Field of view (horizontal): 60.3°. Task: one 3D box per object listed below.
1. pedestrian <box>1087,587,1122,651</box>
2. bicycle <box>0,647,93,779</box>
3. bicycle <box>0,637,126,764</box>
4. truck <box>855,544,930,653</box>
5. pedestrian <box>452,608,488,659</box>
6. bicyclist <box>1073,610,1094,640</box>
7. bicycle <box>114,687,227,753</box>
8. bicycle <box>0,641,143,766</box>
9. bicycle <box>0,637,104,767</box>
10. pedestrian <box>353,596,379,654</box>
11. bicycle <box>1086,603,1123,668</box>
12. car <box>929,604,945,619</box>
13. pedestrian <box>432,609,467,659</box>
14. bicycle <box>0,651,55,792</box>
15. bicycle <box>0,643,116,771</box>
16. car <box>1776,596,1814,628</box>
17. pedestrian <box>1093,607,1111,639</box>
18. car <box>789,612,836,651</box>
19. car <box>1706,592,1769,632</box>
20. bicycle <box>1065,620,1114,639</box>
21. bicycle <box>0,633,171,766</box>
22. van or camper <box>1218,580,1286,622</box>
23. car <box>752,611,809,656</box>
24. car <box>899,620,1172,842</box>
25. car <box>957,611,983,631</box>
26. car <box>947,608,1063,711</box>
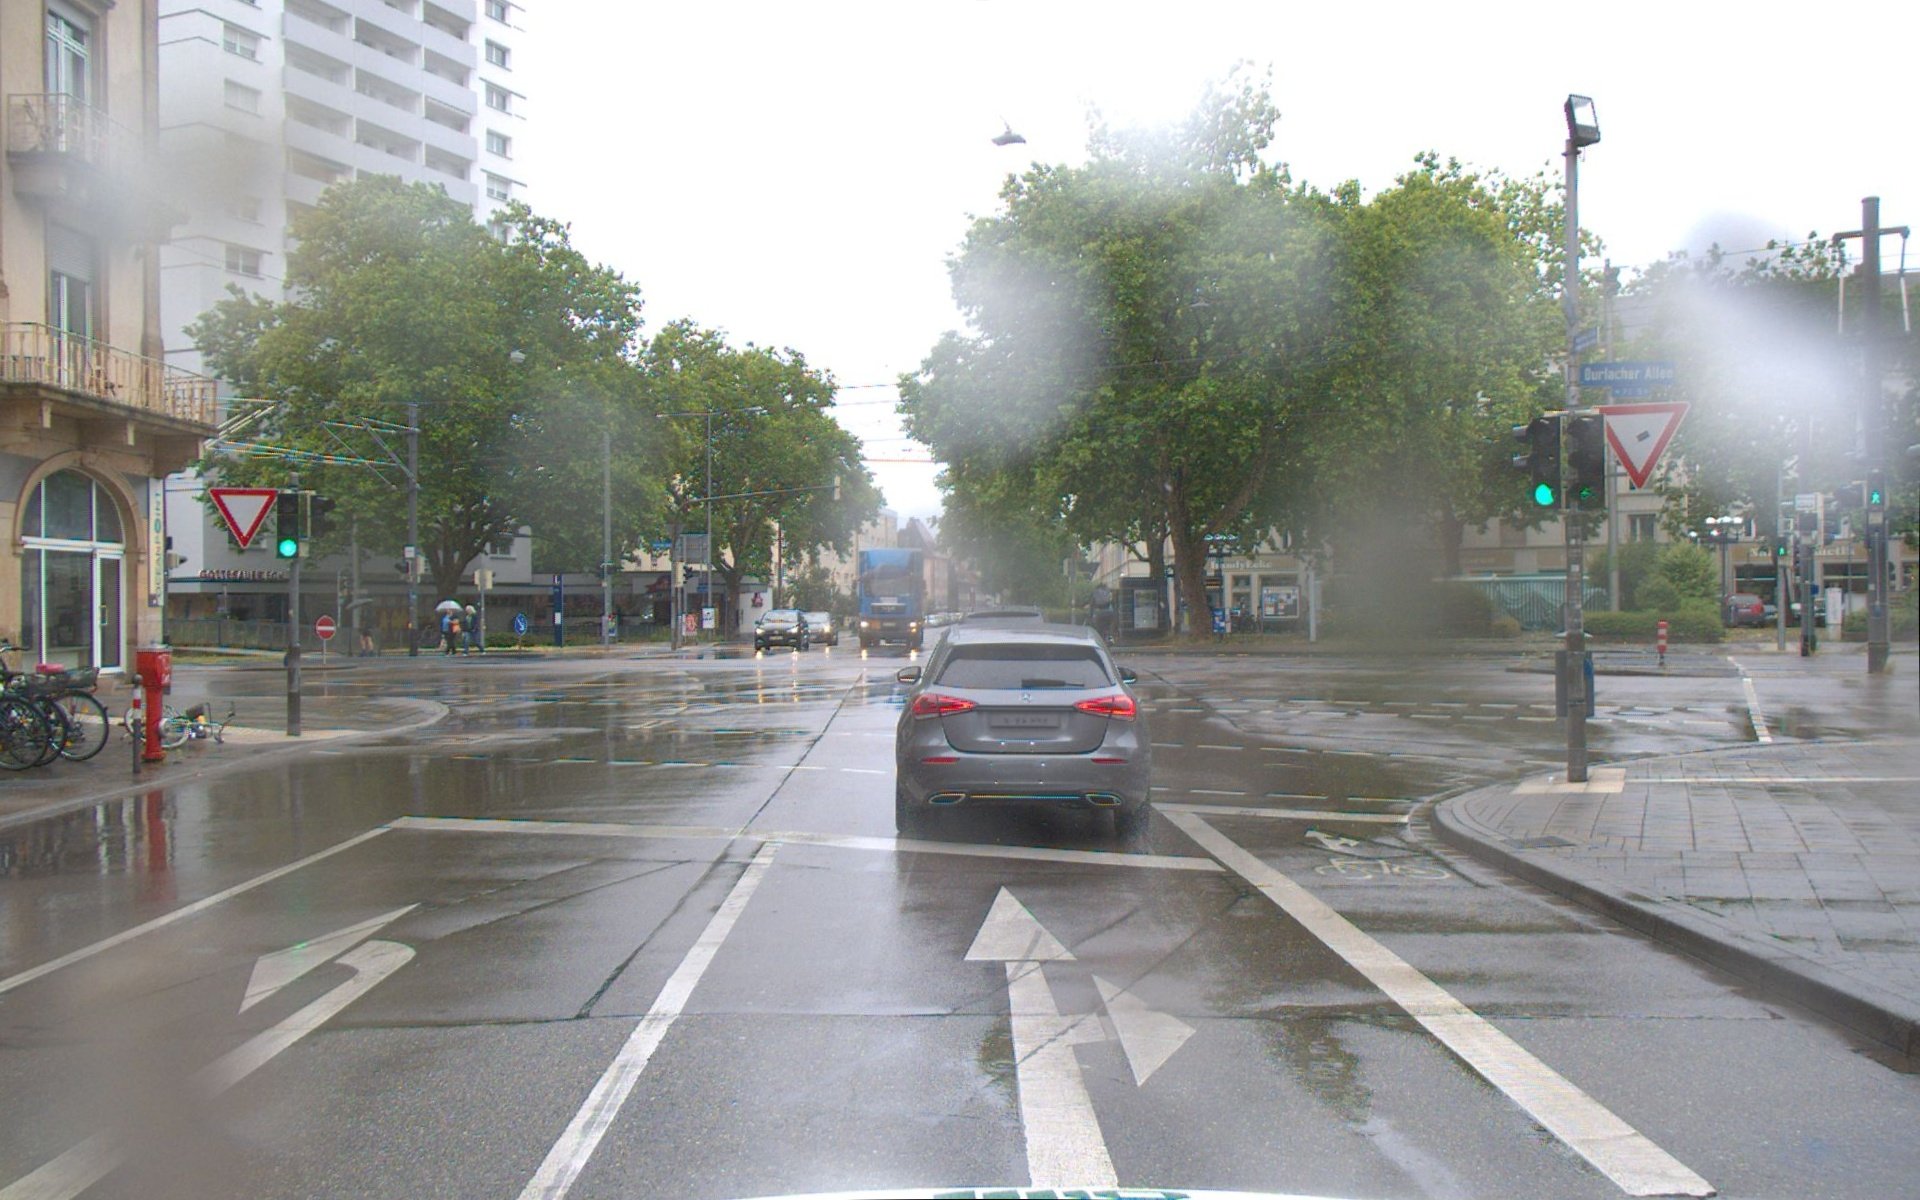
[{"bbox_3d":[3.277,0.431,37.518,0.728,1.422,1.048,-2,-1,6],"label":"pedestrian"},{"bbox_3d":[-9.463,1.063,16.041,1.774,1.205,0.475,3,-1,-3],"label":"bicycle"},{"bbox_3d":[-10.830,1.152,18.785,2.295,1.369,0.639,-2,0,-6],"label":"bicycle"},{"bbox_3d":[-2.700,-0.020,68.965,2.788,4.096,10.313,-2,0,-1],"label":"truck"},{"bbox_3d":[-16.316,1.115,55.069,0.817,1.677,0.756,-2,-1,15],"label":"pedestrian"},{"bbox_3d":[8.283,1.670,111.000,0.924,1.901,1.136,-1,-5,-19],"label":"bicyclist"},{"bbox_3d":[-9.164,1.376,19.173,1.029,0.675,1.462,2,-2,-31],"label":"bicycle"},{"bbox_3d":[-9.562,1.049,17.074,1.941,1.205,0.474,3,-1,-4],"label":"bicycle"},{"bbox_3d":[-10.740,1.123,18.148,2.295,1.370,0.639,-1,0,-6],"label":"bicycle"},{"bbox_3d":[-19.490,0.831,54.248,0.670,1.870,0.634,-1,-1,-29],"label":"pedestrian"},{"bbox_3d":[3.296,0.793,37.601,0.733,1.401,2.709,-2,0,6],"label":"bicycle"},{"bbox_3d":[-2.950,1.461,212.623,1.850,1.868,4.001,-1,-1,3],"label":"car"},{"bbox_3d":[-17.424,1.149,56.430,0.774,1.677,0.817,-2,-1,15],"label":"pedestrian"},{"bbox_3d":[-9.320,1.055,15.087,1.772,1.205,0.601,3,0,5],"label":"bicycle"},{"bbox_3d":[-9.496,1.048,16.555,1.774,1.205,0.468,3,-1,-3],"label":"bicycle"},{"bbox_3d":[42.641,0.625,84.458,1.518,1.492,3.364,-1,-3,24],"label":"car"},{"bbox_3d":[7.506,1.215,87.448,0.653,1.698,0.714,0,-1,-21],"label":"pedestrian"},{"bbox_3d":[-6.301,1.324,71.138,1.691,1.573,4.339,-2,0,-1],"label":"car"},{"bbox_3d":[31.622,0.501,67.335,1.627,1.548,3.681,-1,-1,14],"label":"car"},{"bbox_3d":[8.708,1.998,111.182,3.158,1.132,1.048,-1,-5,-19],"label":"bicycle"},{"bbox_3d":[-9.489,1.056,17.638,1.935,1.353,0.438,-1,0,1],"label":"bicycle"},{"bbox_3d":[16.880,0.073,95.390,2.350,2.270,5.423,-2,-1,27],"label":"van or camper"},{"bbox_3d":[-6.570,1.207,60.917,1.708,1.573,3.777,-2,0,-1],"label":"car"},{"bbox_3d":[0.470,0.867,12.403,1.755,1.396,3.506,0,0,-1],"label":"car"},{"bbox_3d":[0.802,1.774,137.361,1.953,1.601,3.998,-1,-1,-2],"label":"car"},{"bbox_3d":[0.622,0.852,25.250,1.574,1.396,3.999,-2,0,-1],"label":"car"}]
